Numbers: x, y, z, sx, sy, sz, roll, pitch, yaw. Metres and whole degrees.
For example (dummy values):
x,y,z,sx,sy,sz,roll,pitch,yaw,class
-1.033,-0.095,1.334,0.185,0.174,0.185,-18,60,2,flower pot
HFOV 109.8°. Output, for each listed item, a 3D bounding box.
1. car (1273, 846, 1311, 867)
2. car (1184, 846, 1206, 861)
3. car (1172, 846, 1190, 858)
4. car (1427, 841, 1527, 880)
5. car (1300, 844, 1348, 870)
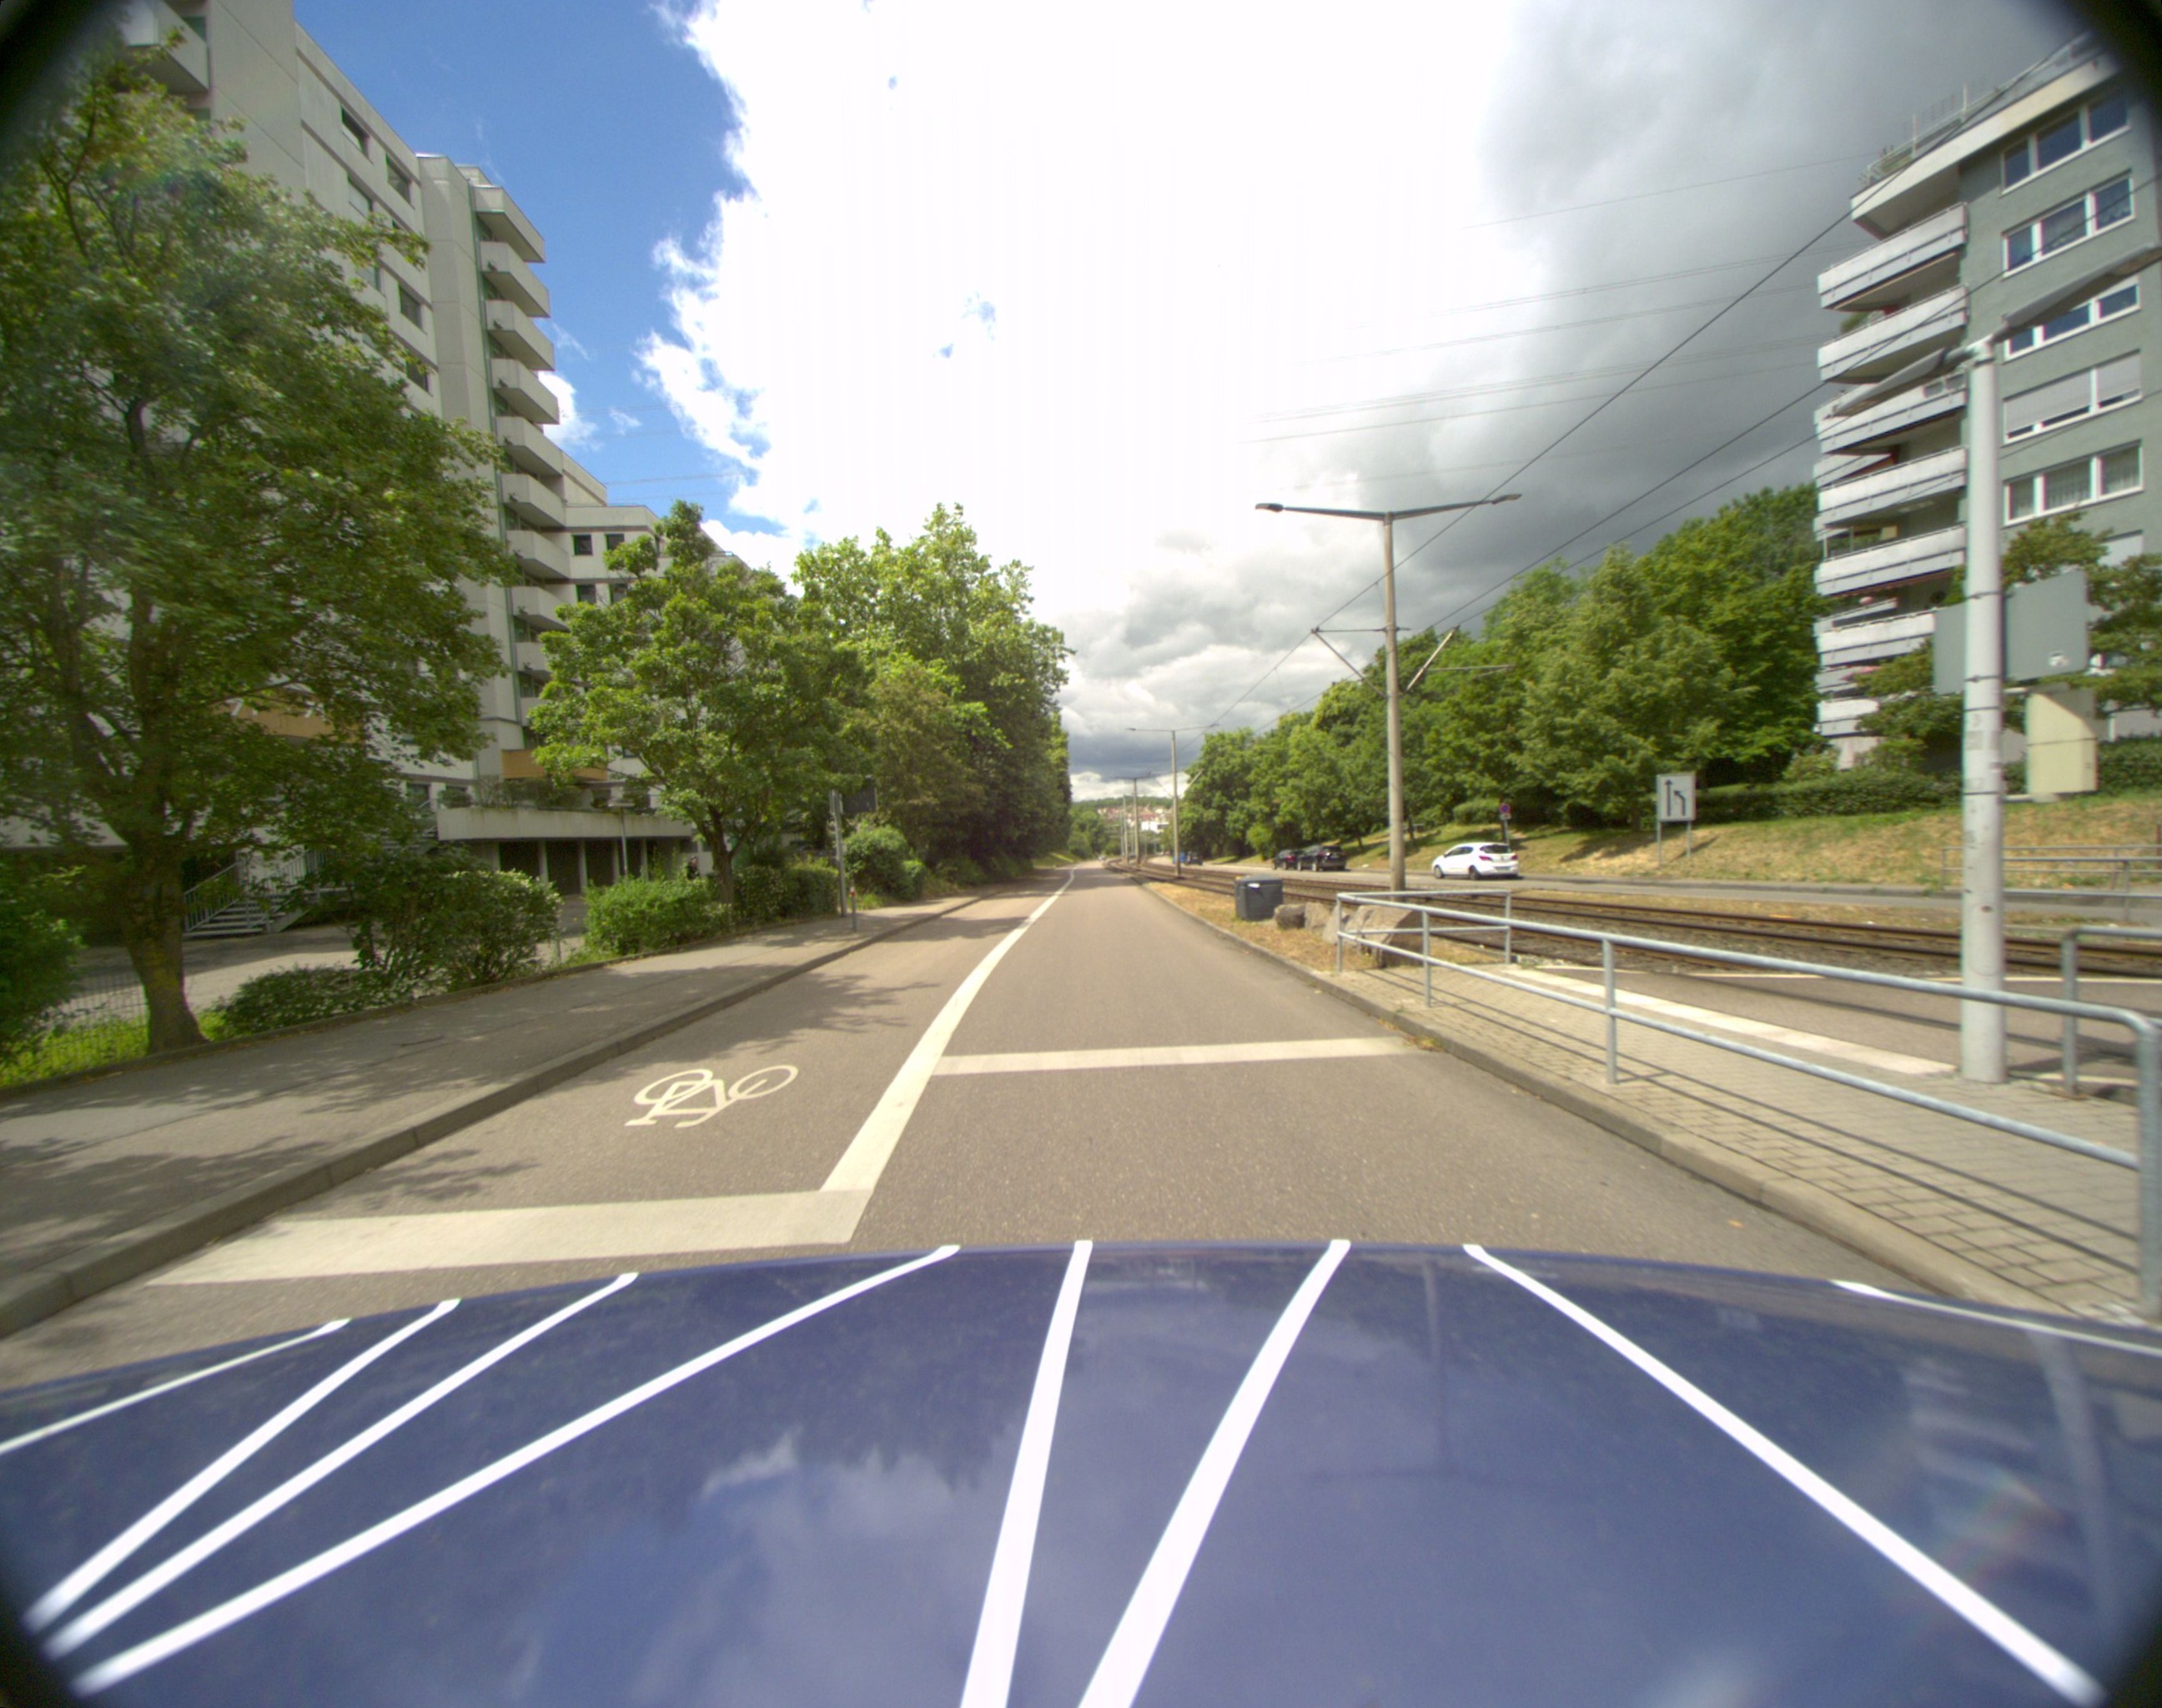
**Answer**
x,y,z,sx,sy,sz,roll,pitch,yaw,class
14.853,0.174,53.738,1.605,1.431,3.469,-2,0,-2,car
12.329,-0.043,82.216,1.659,1.503,3.737,-2,0,-2,car
12.891,-0.240,97.943,1.636,1.446,3.737,-2,0,-2,car
15.863,0.230,30.681,1.659,1.410,3.998,-2,0,-5,car
15.085,0.154,47.430,1.659,1.503,3.737,-2,0,-2,car
